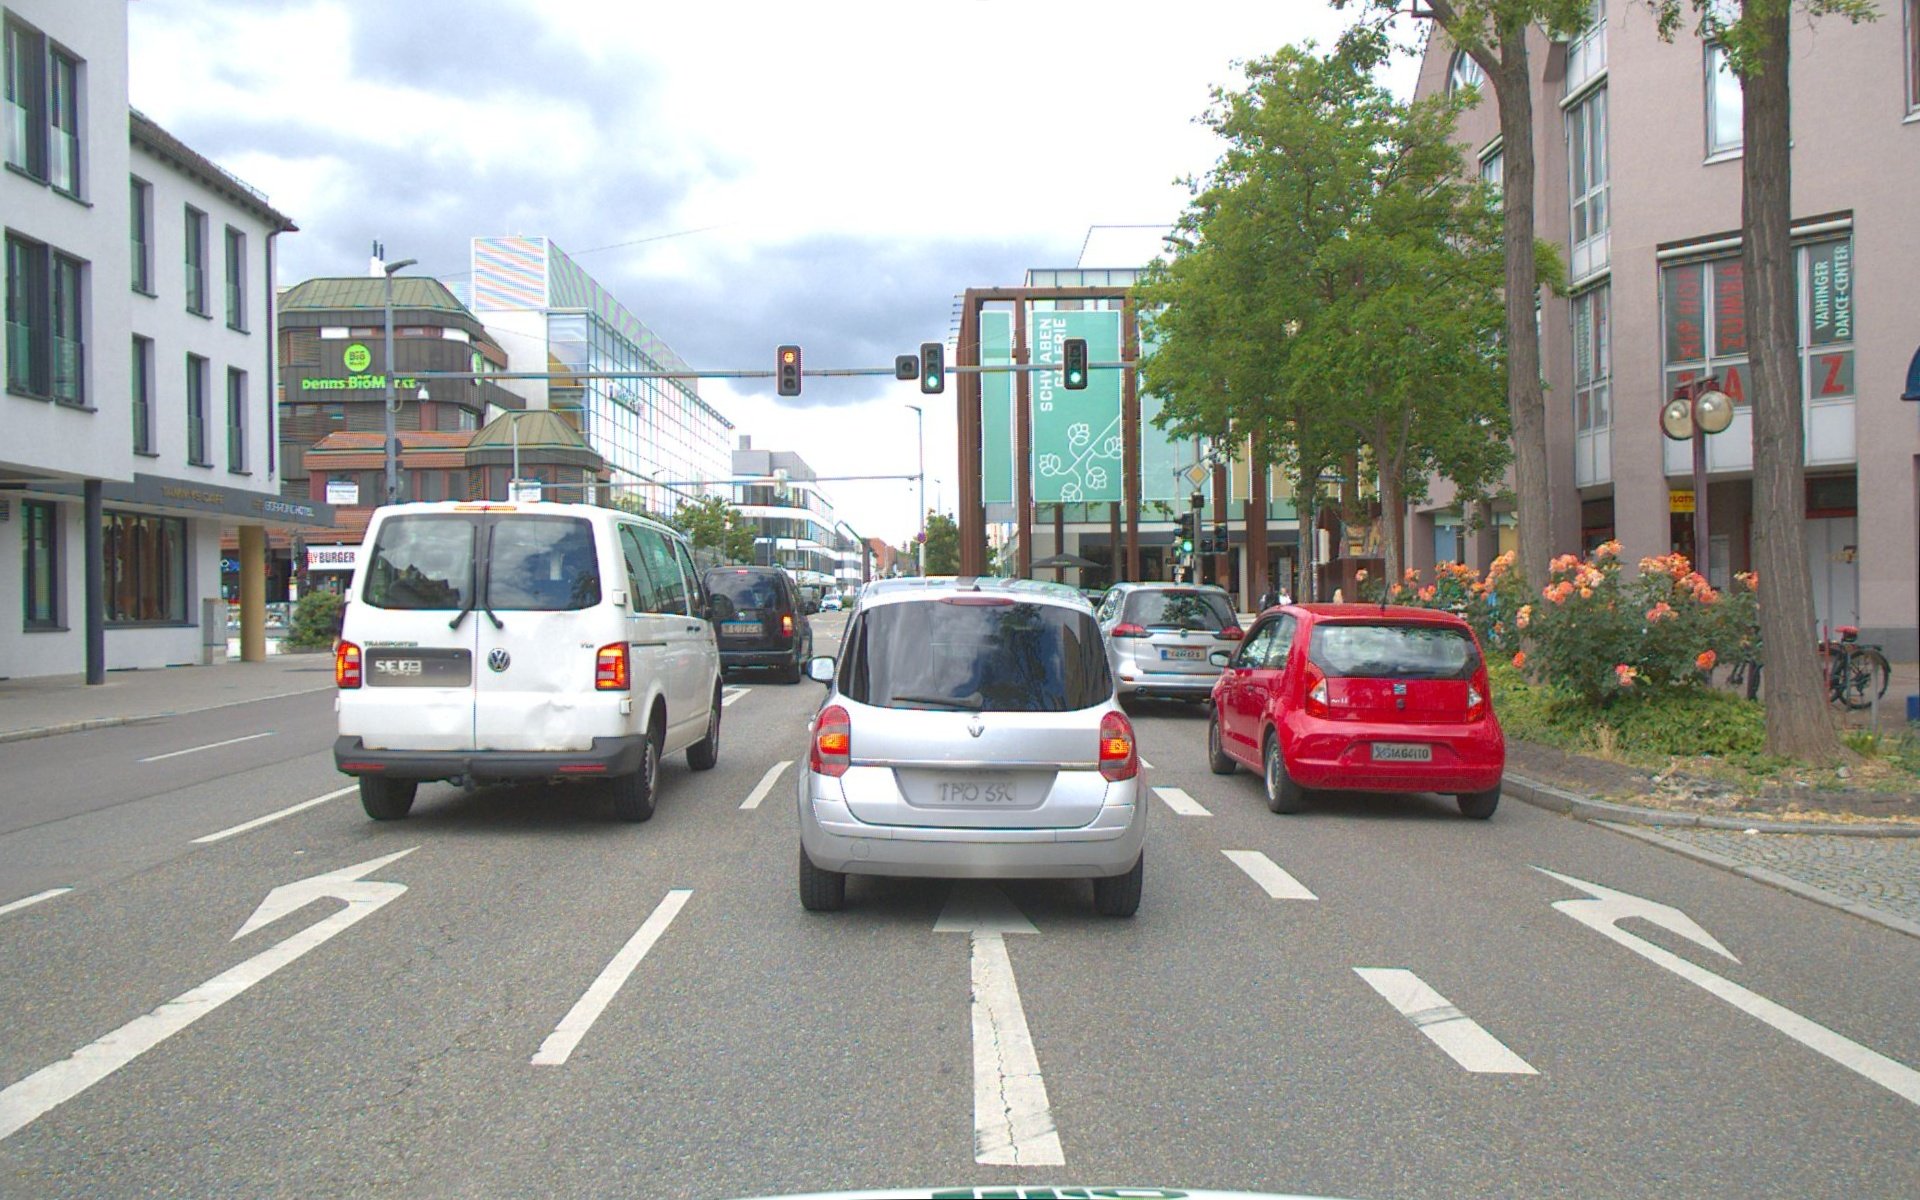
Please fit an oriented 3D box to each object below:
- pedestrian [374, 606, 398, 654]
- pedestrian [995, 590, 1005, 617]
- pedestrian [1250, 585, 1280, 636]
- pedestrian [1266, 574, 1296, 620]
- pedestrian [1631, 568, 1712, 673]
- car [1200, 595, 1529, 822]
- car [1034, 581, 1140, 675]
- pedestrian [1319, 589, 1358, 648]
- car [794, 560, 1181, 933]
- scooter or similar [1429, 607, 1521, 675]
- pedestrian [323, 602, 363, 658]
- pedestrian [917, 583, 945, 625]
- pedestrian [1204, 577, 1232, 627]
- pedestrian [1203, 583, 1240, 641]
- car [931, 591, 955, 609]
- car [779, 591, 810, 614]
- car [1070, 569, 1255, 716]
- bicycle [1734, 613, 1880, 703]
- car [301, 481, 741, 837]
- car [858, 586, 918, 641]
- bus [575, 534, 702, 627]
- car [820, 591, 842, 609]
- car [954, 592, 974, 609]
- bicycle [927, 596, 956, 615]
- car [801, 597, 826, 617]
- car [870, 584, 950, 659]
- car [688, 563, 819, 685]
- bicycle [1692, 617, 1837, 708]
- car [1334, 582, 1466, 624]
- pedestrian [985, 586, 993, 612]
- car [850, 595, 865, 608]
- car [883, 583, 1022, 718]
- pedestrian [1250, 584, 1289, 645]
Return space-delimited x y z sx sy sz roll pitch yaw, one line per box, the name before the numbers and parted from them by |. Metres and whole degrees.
pedestrian | -19.582 1.028 56.443 0.625 1.615 0.526 -1 0 0
pedestrian | 1.820 0.157 74.474 0.438 1.241 0.607 -1 0 2
pedestrian | 10.148 0.348 54.998 0.727 1.654 0.953 -1 0 -4
pedestrian | 11.296 -0.103 58.174 0.805 1.623 1.039 0 0 -2
pedestrian | 11.593 0.325 26.972 0.792 1.654 1.093 -1 0 -3
car | 2.969 0.719 12.872 1.593 1.473 3.641 1 0 -1
car | 2.478 0.509 33.295 1.704 1.730 4.380 1 0 -1
pedestrian | 11.733 0.560 51.287 0.861 1.798 1.119 -1 0 -4
car | 0.095 0.623 8.956 1.636 1.581 3.641 1 0 -1
scooter or similar | 8.674 0.677 27.922 0.462 1.106 1.878 -1 0 -18
pedestrian | -20.015 0.961 53.657 0.928 1.786 0.945 -1 0 0
pedestrian | -1.156 0.163 66.229 0.854 1.675 0.678 0 0 33
pedestrian | 8.694 0.049 55.774 0.727 1.654 0.953 -1 0 -4
pedestrian | 7.786 0.344 49.317 0.861 1.711 1.119 -1 0 -4
car | -1.357 -0.005 132.192 1.839 1.358 4.000 1 0 0
car | -11.318 0.145 113.232 1.709 1.484 4.234 -1 1 -1
car | 2.585 0.498 22.091 1.705 1.730 4.378 1 0 -3
bicycle | 10.448 0.697 20.434 1.541 1.067 0.404 -1 0 41
car | -2.872 0.331 12.055 1.953 2.049 4.839 1 0 -1
car | -2.117 0.378 49.282 1.636 1.521 3.641 1 0 -1
bus | -13.232 -0.805 69.262 2.927 3.385 12.304 -3 1 -1
car | -11.684 -0.018 149.783 1.626 1.491 3.999 -2 0 -1
car | 0.353 0.033 159.598 1.839 1.591 4.000 1 0 0
bicycle | -0.976 0.301 88.039 1.528 1.010 0.752 -1 0 2
car | -11.396 0.516 128.749 1.626 1.491 4.000 -2 0 -1
car | -1.057 0.445 36.224 1.636 1.521 3.641 1 0 -1
car | -3.389 0.358 27.894 1.673 1.852 4.571 1 0 -1
bicycle | 9.813 0.747 20.203 1.541 1.067 0.404 -1 0 41
car | 15.296 0.098 57.653 4.090 1.428 1.799 0 0 -4
pedestrian | 1.742 -0.042 99.876 0.418 1.576 0.481 -1 0 -3
car | -12.497 0.143 201.958 1.626 1.491 4.000 -2 0 -1
car | -0.120 0.589 21.618 1.636 1.581 3.641 1 0 -1
pedestrian | 9.331 0.427 49.907 0.861 1.798 1.119 -1 0 -4
